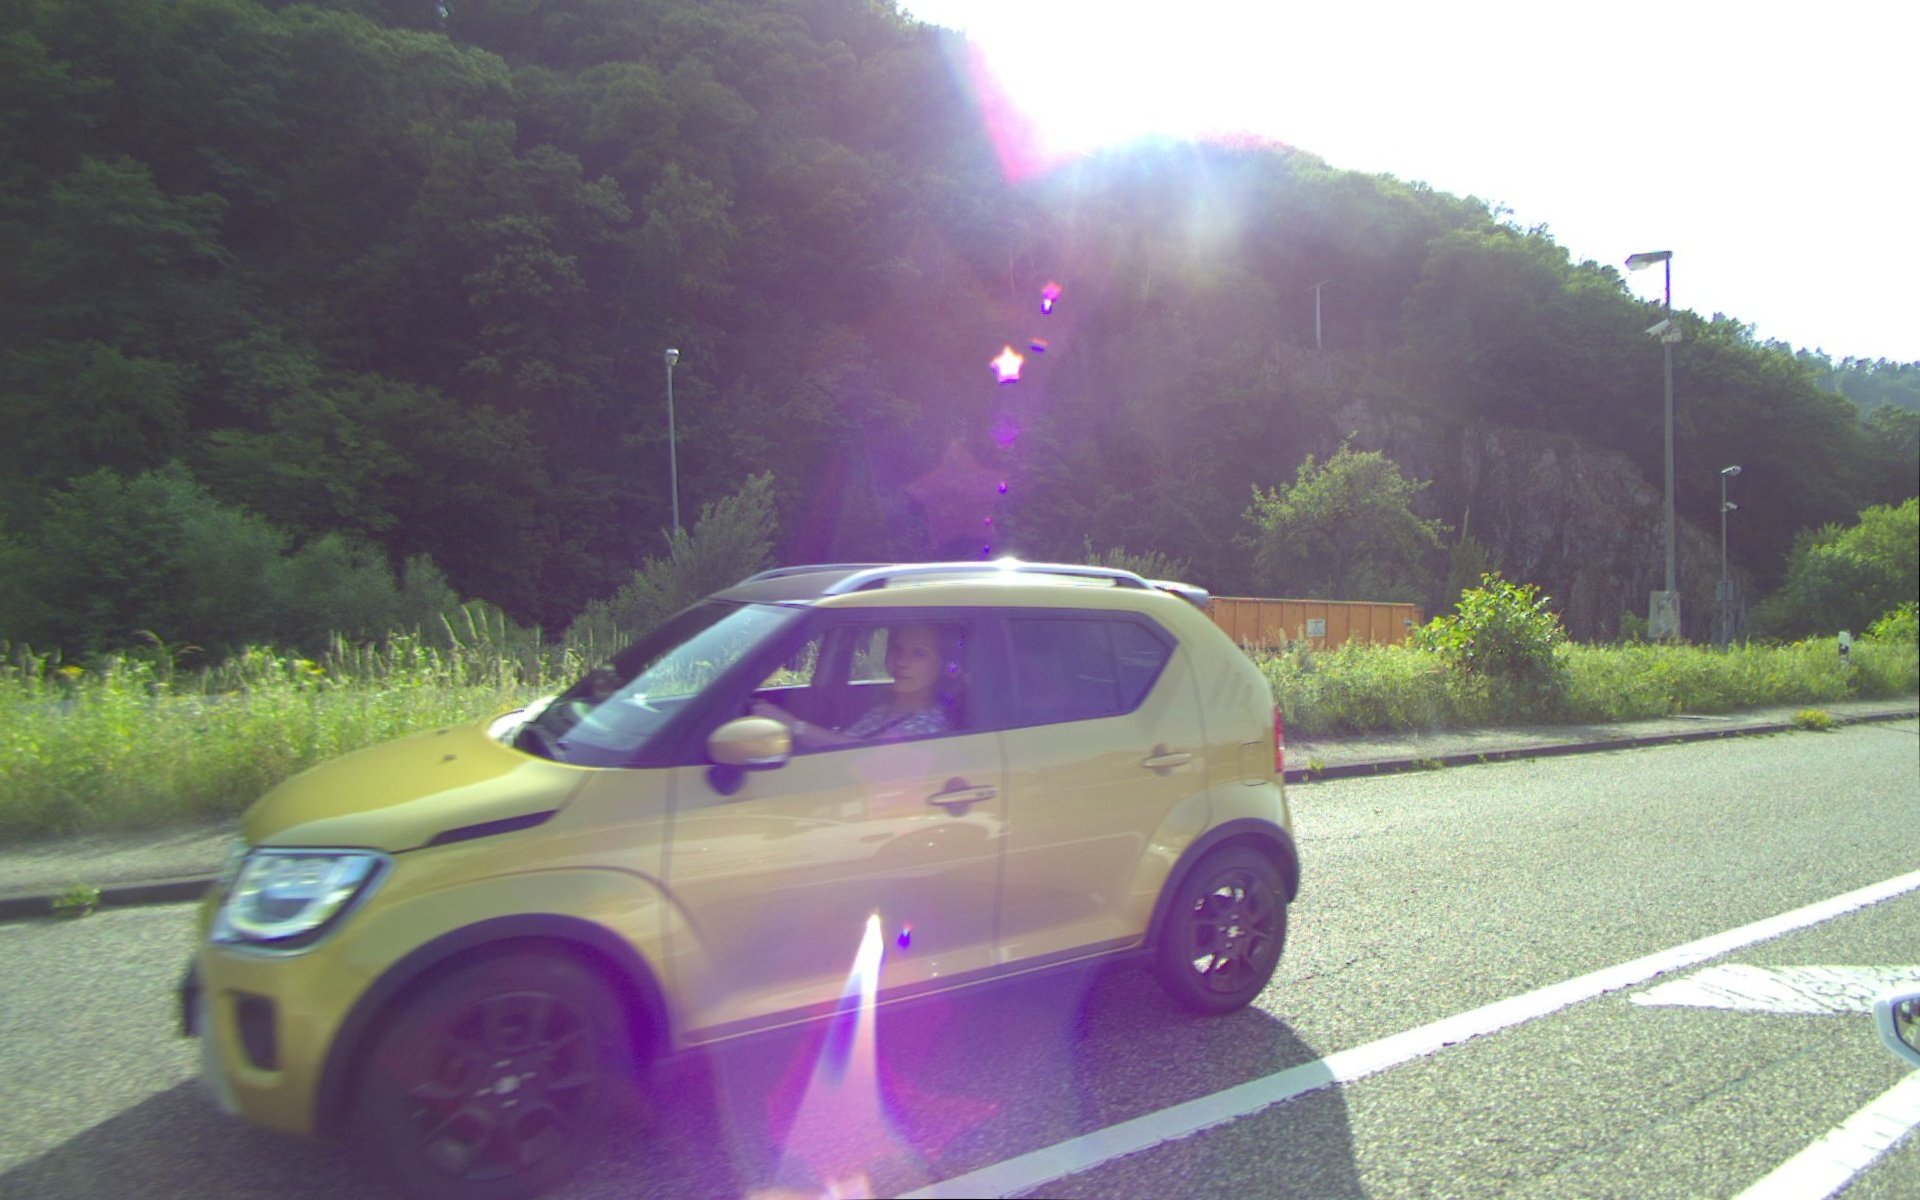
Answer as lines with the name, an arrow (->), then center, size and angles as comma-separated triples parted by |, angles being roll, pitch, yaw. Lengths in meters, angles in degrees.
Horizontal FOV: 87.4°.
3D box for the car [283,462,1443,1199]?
car -> -0.168, 0.556, 3.759 | 3.750, 1.646, 1.716 | 1, 0, -29
